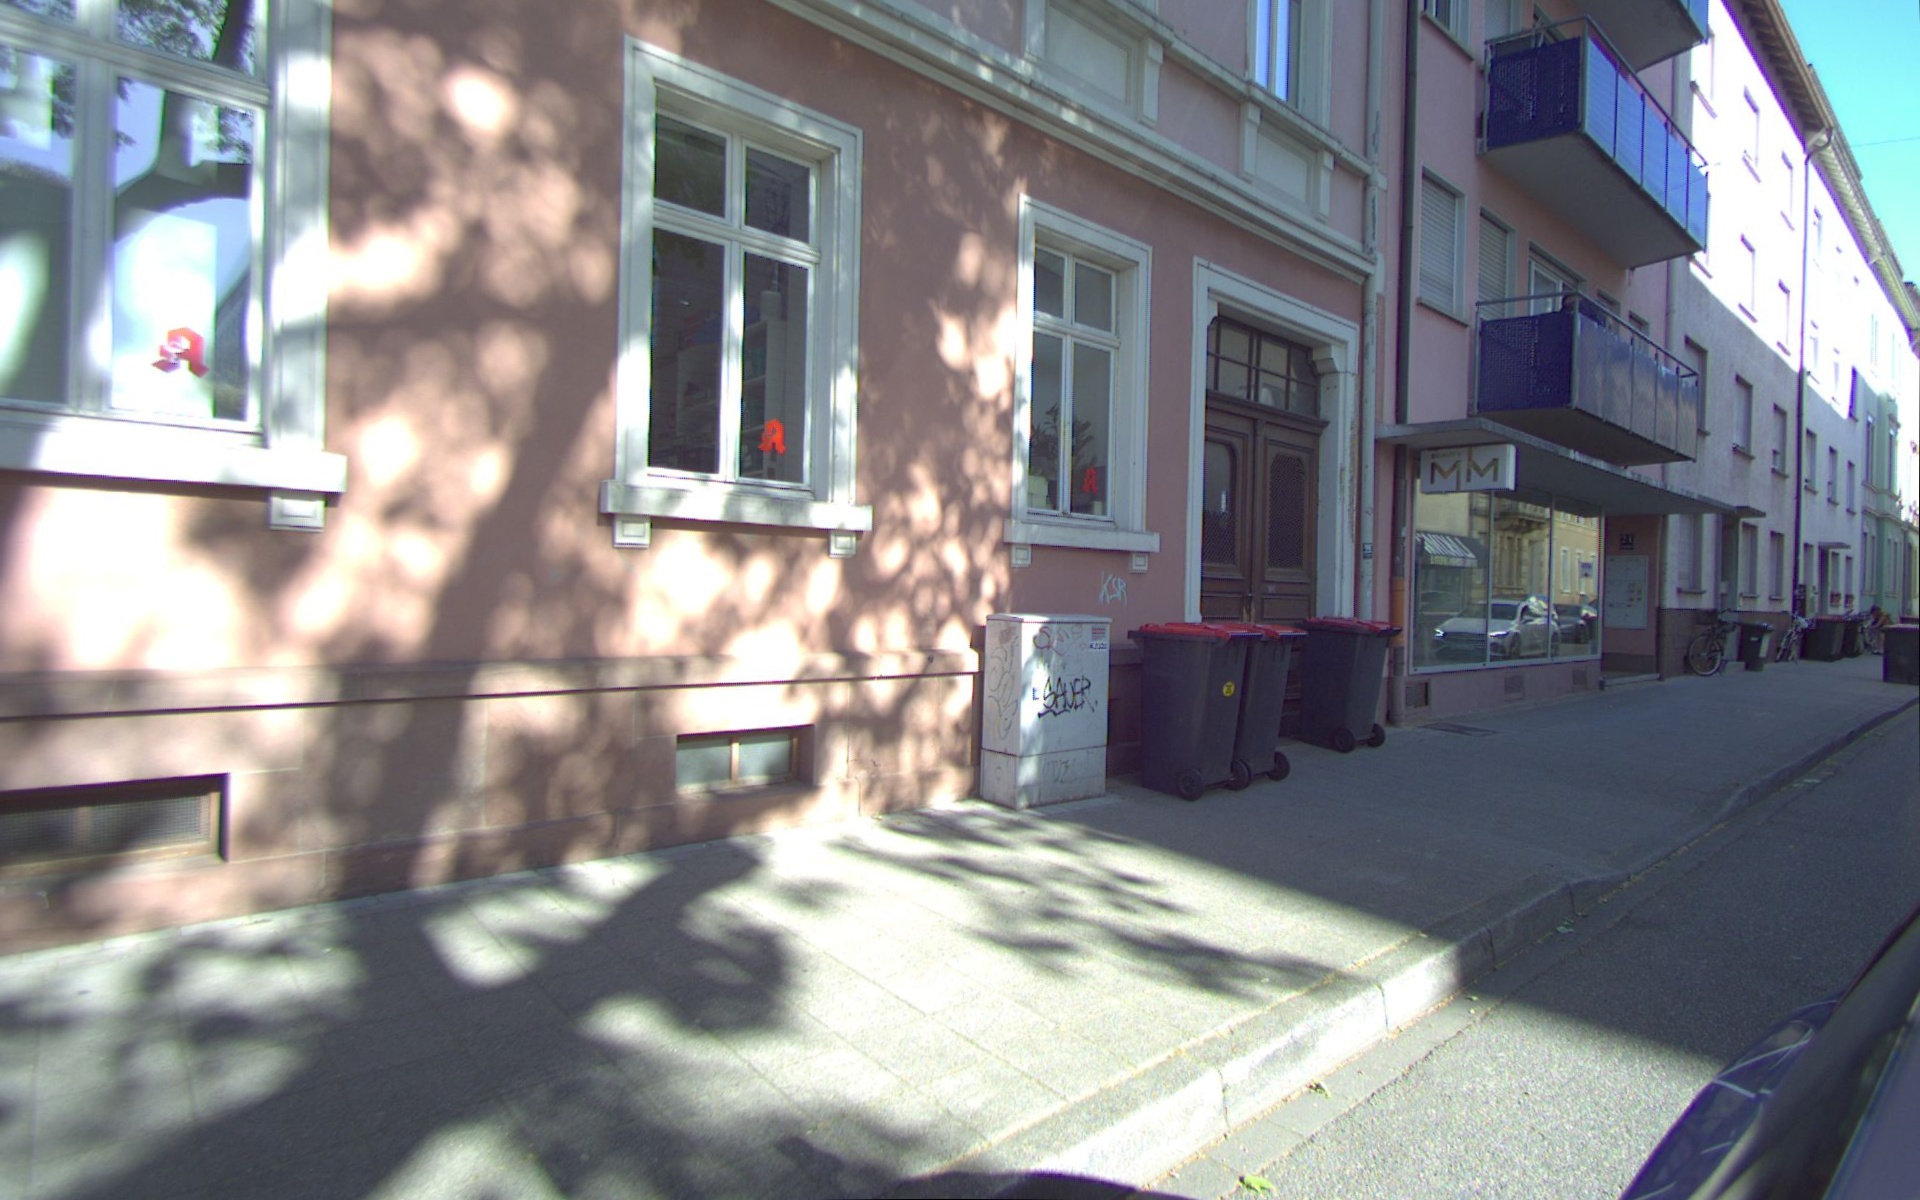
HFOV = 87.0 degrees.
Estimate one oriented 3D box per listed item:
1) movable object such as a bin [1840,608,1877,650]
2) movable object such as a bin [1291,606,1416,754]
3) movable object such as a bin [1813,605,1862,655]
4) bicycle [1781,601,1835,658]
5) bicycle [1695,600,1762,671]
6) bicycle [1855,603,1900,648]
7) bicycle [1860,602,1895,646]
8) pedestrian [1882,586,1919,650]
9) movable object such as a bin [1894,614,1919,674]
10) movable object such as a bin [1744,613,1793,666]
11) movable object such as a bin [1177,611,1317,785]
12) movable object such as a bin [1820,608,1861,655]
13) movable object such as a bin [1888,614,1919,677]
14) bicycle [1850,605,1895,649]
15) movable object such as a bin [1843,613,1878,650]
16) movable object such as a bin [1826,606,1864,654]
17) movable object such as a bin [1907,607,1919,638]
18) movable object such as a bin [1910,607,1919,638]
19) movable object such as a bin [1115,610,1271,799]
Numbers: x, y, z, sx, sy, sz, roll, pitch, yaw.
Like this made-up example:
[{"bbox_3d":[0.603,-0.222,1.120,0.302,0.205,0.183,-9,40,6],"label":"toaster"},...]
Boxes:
[{"bbox_3d":[23.850,0.761,26.861,0.592,1.075,0.617,1,2,-41],"label":"movable object such as a bin"},{"bbox_3d":[3.250,0.627,8.371,0.681,1.117,0.730,0,1,-43],"label":"movable object such as a bin"},{"bbox_3d":[21.005,0.702,24.226,0.628,1.110,0.741,0,4,-40],"label":"movable object such as a bin"},{"bbox_3d":[18.868,0.635,22.502,2.040,1.184,0.538,1,5,-42],"label":"bicycle"},{"bbox_3d":[13.302,0.592,17.495,1.885,1.148,0.454,0,3,-40],"label":"bicycle"},{"bbox_3d":[26.067,0.708,28.754,2.223,1.221,0.439,0,1,-35],"label":"bicycle"},{"bbox_3d":[26.967,0.696,29.721,2.120,1.221,0.406,0,1,-38],"label":"bicycle"},{"bbox_3d":[26.380,0.492,28.319,0.672,1.733,0.658,0,1,-29],"label":"pedestrian"},{"bbox_3d":[17.906,0.818,18.793,0.691,1.094,0.734,0,1,-40],"label":"movable object such as a bin"},{"bbox_3d":[15.362,0.737,19.225,0.670,0.963,0.599,0,1,-40],"label":"movable object such as a bin"},{"bbox_3d":[1.960,0.633,6.938,0.586,1.086,0.703,0,1,-39],"label":"movable object such as a bin"},{"bbox_3d":[21.430,0.755,24.627,0.582,1.119,0.658,1,1,-40],"label":"movable object such as a bin"},{"bbox_3d":[17.388,0.817,18.319,0.681,1.100,0.769,0,1,-40],"label":"movable object such as a bin"},{"bbox_3d":[25.276,0.725,28.031,1.833,1.168,0.570,0,1,-37],"label":"bicycle"},{"bbox_3d":[24.279,0.832,27.279,0.597,0.936,0.578,1,3,-41],"label":"movable object such as a bin"},{"bbox_3d":[21.851,0.726,24.985,0.559,1.136,0.629,0,1,-40],"label":"movable object such as a bin"},{"bbox_3d":[34.974,0.820,36.726,0.661,1.102,0.814,0,1,-39],"label":"movable object such as a bin"},{"bbox_3d":[35.481,0.836,37.148,0.630,1.109,0.799,0,1,-39],"label":"movable object such as a bin"},{"bbox_3d":[1.497,0.629,6.524,0.623,1.099,0.747,0,1,-39],"label":"movable object such as a bin"}]
